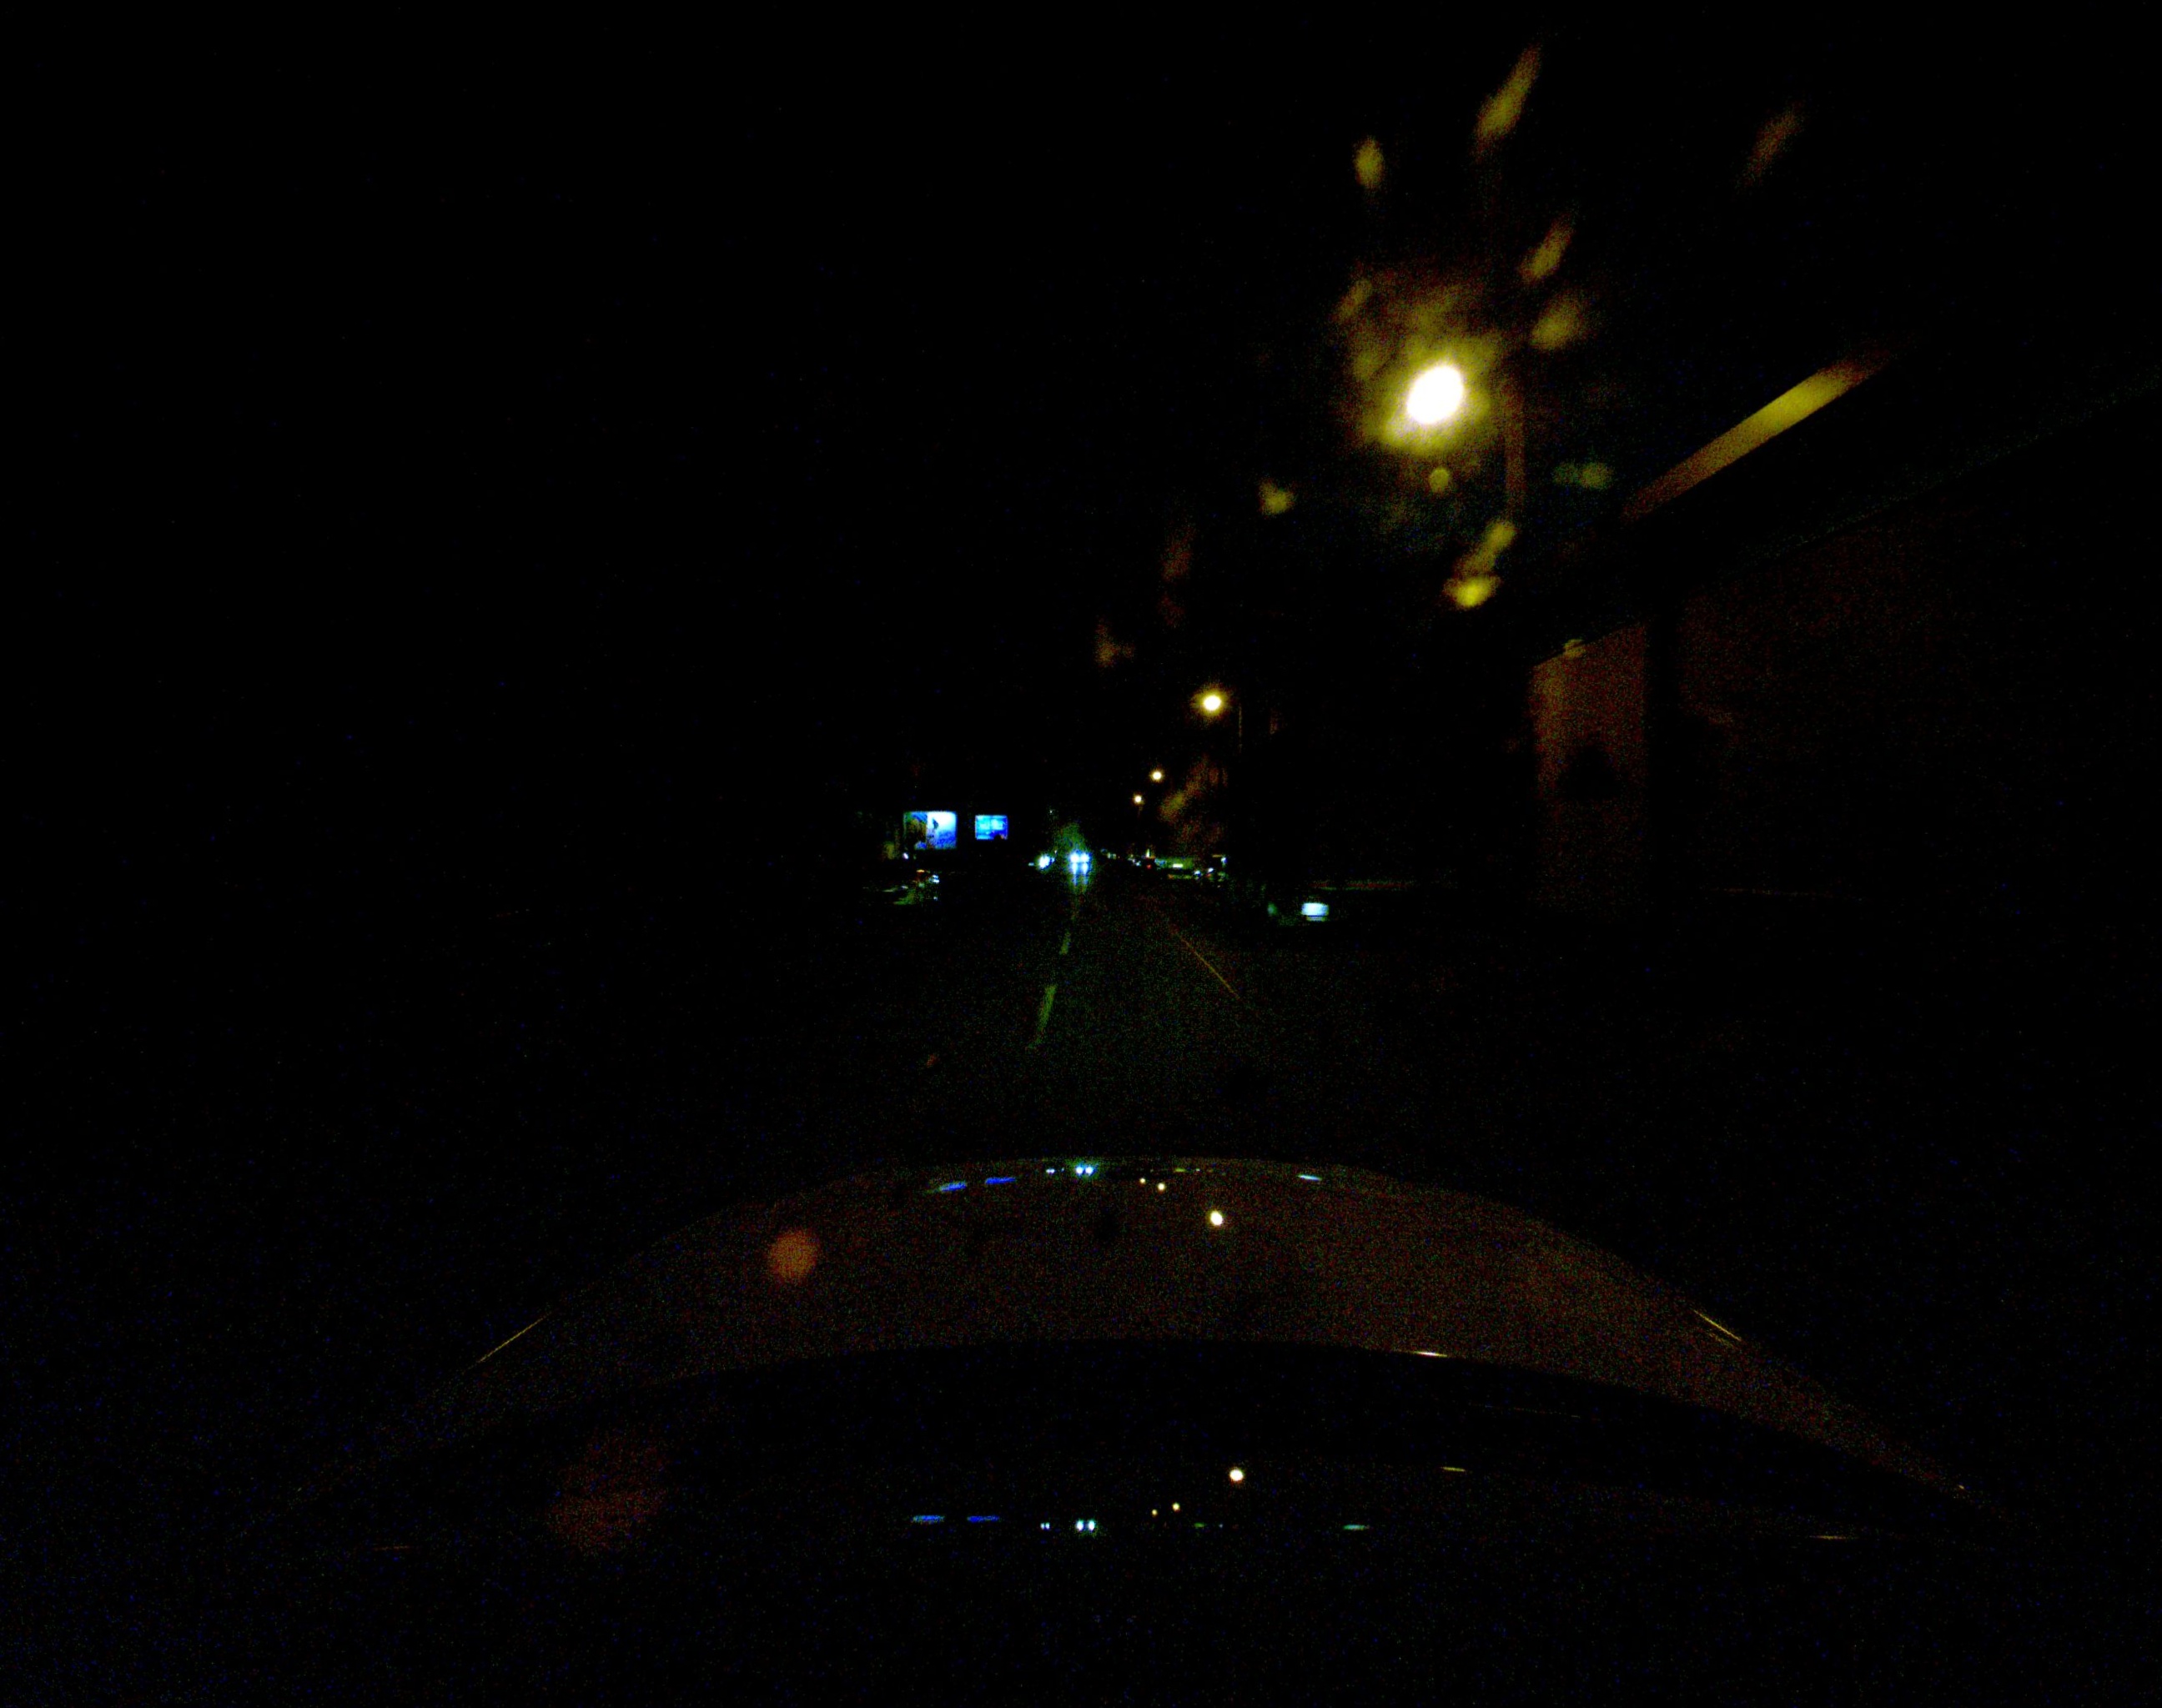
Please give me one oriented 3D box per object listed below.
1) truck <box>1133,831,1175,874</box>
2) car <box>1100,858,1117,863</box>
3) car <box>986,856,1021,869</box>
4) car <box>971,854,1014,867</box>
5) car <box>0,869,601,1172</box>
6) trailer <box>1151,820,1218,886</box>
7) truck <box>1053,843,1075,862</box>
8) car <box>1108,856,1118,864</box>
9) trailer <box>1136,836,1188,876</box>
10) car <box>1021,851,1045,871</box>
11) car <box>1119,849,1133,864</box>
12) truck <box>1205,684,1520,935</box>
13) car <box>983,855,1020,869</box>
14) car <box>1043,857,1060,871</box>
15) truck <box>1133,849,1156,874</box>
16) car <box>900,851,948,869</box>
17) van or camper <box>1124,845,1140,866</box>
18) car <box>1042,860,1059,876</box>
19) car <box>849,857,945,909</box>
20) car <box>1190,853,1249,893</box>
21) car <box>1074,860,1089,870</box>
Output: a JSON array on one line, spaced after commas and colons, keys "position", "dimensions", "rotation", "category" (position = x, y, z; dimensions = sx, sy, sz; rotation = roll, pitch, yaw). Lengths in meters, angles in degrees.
[{"position": [6.192, -0.071, 70.028], "dimensions": [3.140, 3.463, 6.674], "rotation": [-1, -1, 1], "category": "truck"}, {"position": [7.392, 1.679, 219.247], "dimensions": [4.510, 1.380, 2.002], "rotation": [0, -1, 4], "category": "car"}, {"position": [-9.694, 1.054, 101.841], "dimensions": [4.007, 1.595, 1.983], "rotation": [-1, -1, -25], "category": "car"}, {"position": [-10.190, 0.729, 93.499], "dimensions": [4.631, 1.486, 1.986], "rotation": [0, 0, -21], "category": "car"}, {"position": [-5.440, 0.813, 5.806], "dimensions": [1.596, 1.354, 4.001], "rotation": [0, 0, 1], "category": "car"}, {"position": [5.761, 0.006, 46.558], "dimensions": [2.679, 3.464, 7.805], "rotation": [0, -1, -1], "category": "trailer"}, {"position": [-3.235, -0.260, 154.054], "dimensions": [3.883, 3.622, 8.248], "rotation": [0, 0, -4], "category": "truck"}, {"position": [6.814, 1.231, 174.709], "dimensions": [1.986, 1.684, 4.001], "rotation": [0, 0, 1], "category": "car"}, {"position": [6.046, 0.189, 62.853], "dimensions": [3.172, 2.749, 10.717], "rotation": [-1, -1, 1], "category": "trailer"}, {"position": [-4.501, 0.672, 76.939], "dimensions": [1.986, 1.794, 4.001], "rotation": [0, 0, 1], "category": "car"}, {"position": [6.869, 0.398, 124.336], "dimensions": [1.986, 2.145, 4.001], "rotation": [0, 0, 1], "category": "car"}, {"position": [5.335, -0.656, 18.361], "dimensions": [3.509, 3.983, 10.341], "rotation": [-1, -1, 0], "category": "truck"}, {"position": [-9.660, 1.008, 98.880], "dimensions": [4.007, 1.595, 1.983], "rotation": [-1, -1, -25], "category": "car"}, {"position": [-3.726, 1.220, 102.609], "dimensions": [1.891, 1.736, 4.355], "rotation": [0, 0, 1], "category": "car"}, {"position": [6.369, 0.741, 82.187], "dimensions": [1.986, 2.407, 5.294], "rotation": [0, 0, 1], "category": "truck"}, {"position": [-14.261, 0.568, 74.221], "dimensions": [3.976, 1.651, 1.999], "rotation": [0, 0, -2], "category": "car"}, {"position": [6.516, 0.214, 103.936], "dimensions": [1.986, 2.581, 4.917], "rotation": [0, 0, 2], "category": "van or camper"}, {"position": [-3.306, 1.492, 88.162], "dimensions": [1.673, 1.736, 4.354], "rotation": [0, 0, 0], "category": "car"}, {"position": [-5.374, 0.808, 24.326], "dimensions": [1.834, 1.420, 4.001], "rotation": [0, 0, 1], "category": "car"}, {"position": [5.657, 0.764, 33.669], "dimensions": [1.845, 1.519, 3.819], "rotation": [-1, -1, 2], "category": "car"}, {"position": [0.087, 1.537, 112.347], "dimensions": [1.986, 1.398, 4.001], "rotation": [0, 0, 1], "category": "car"}]
